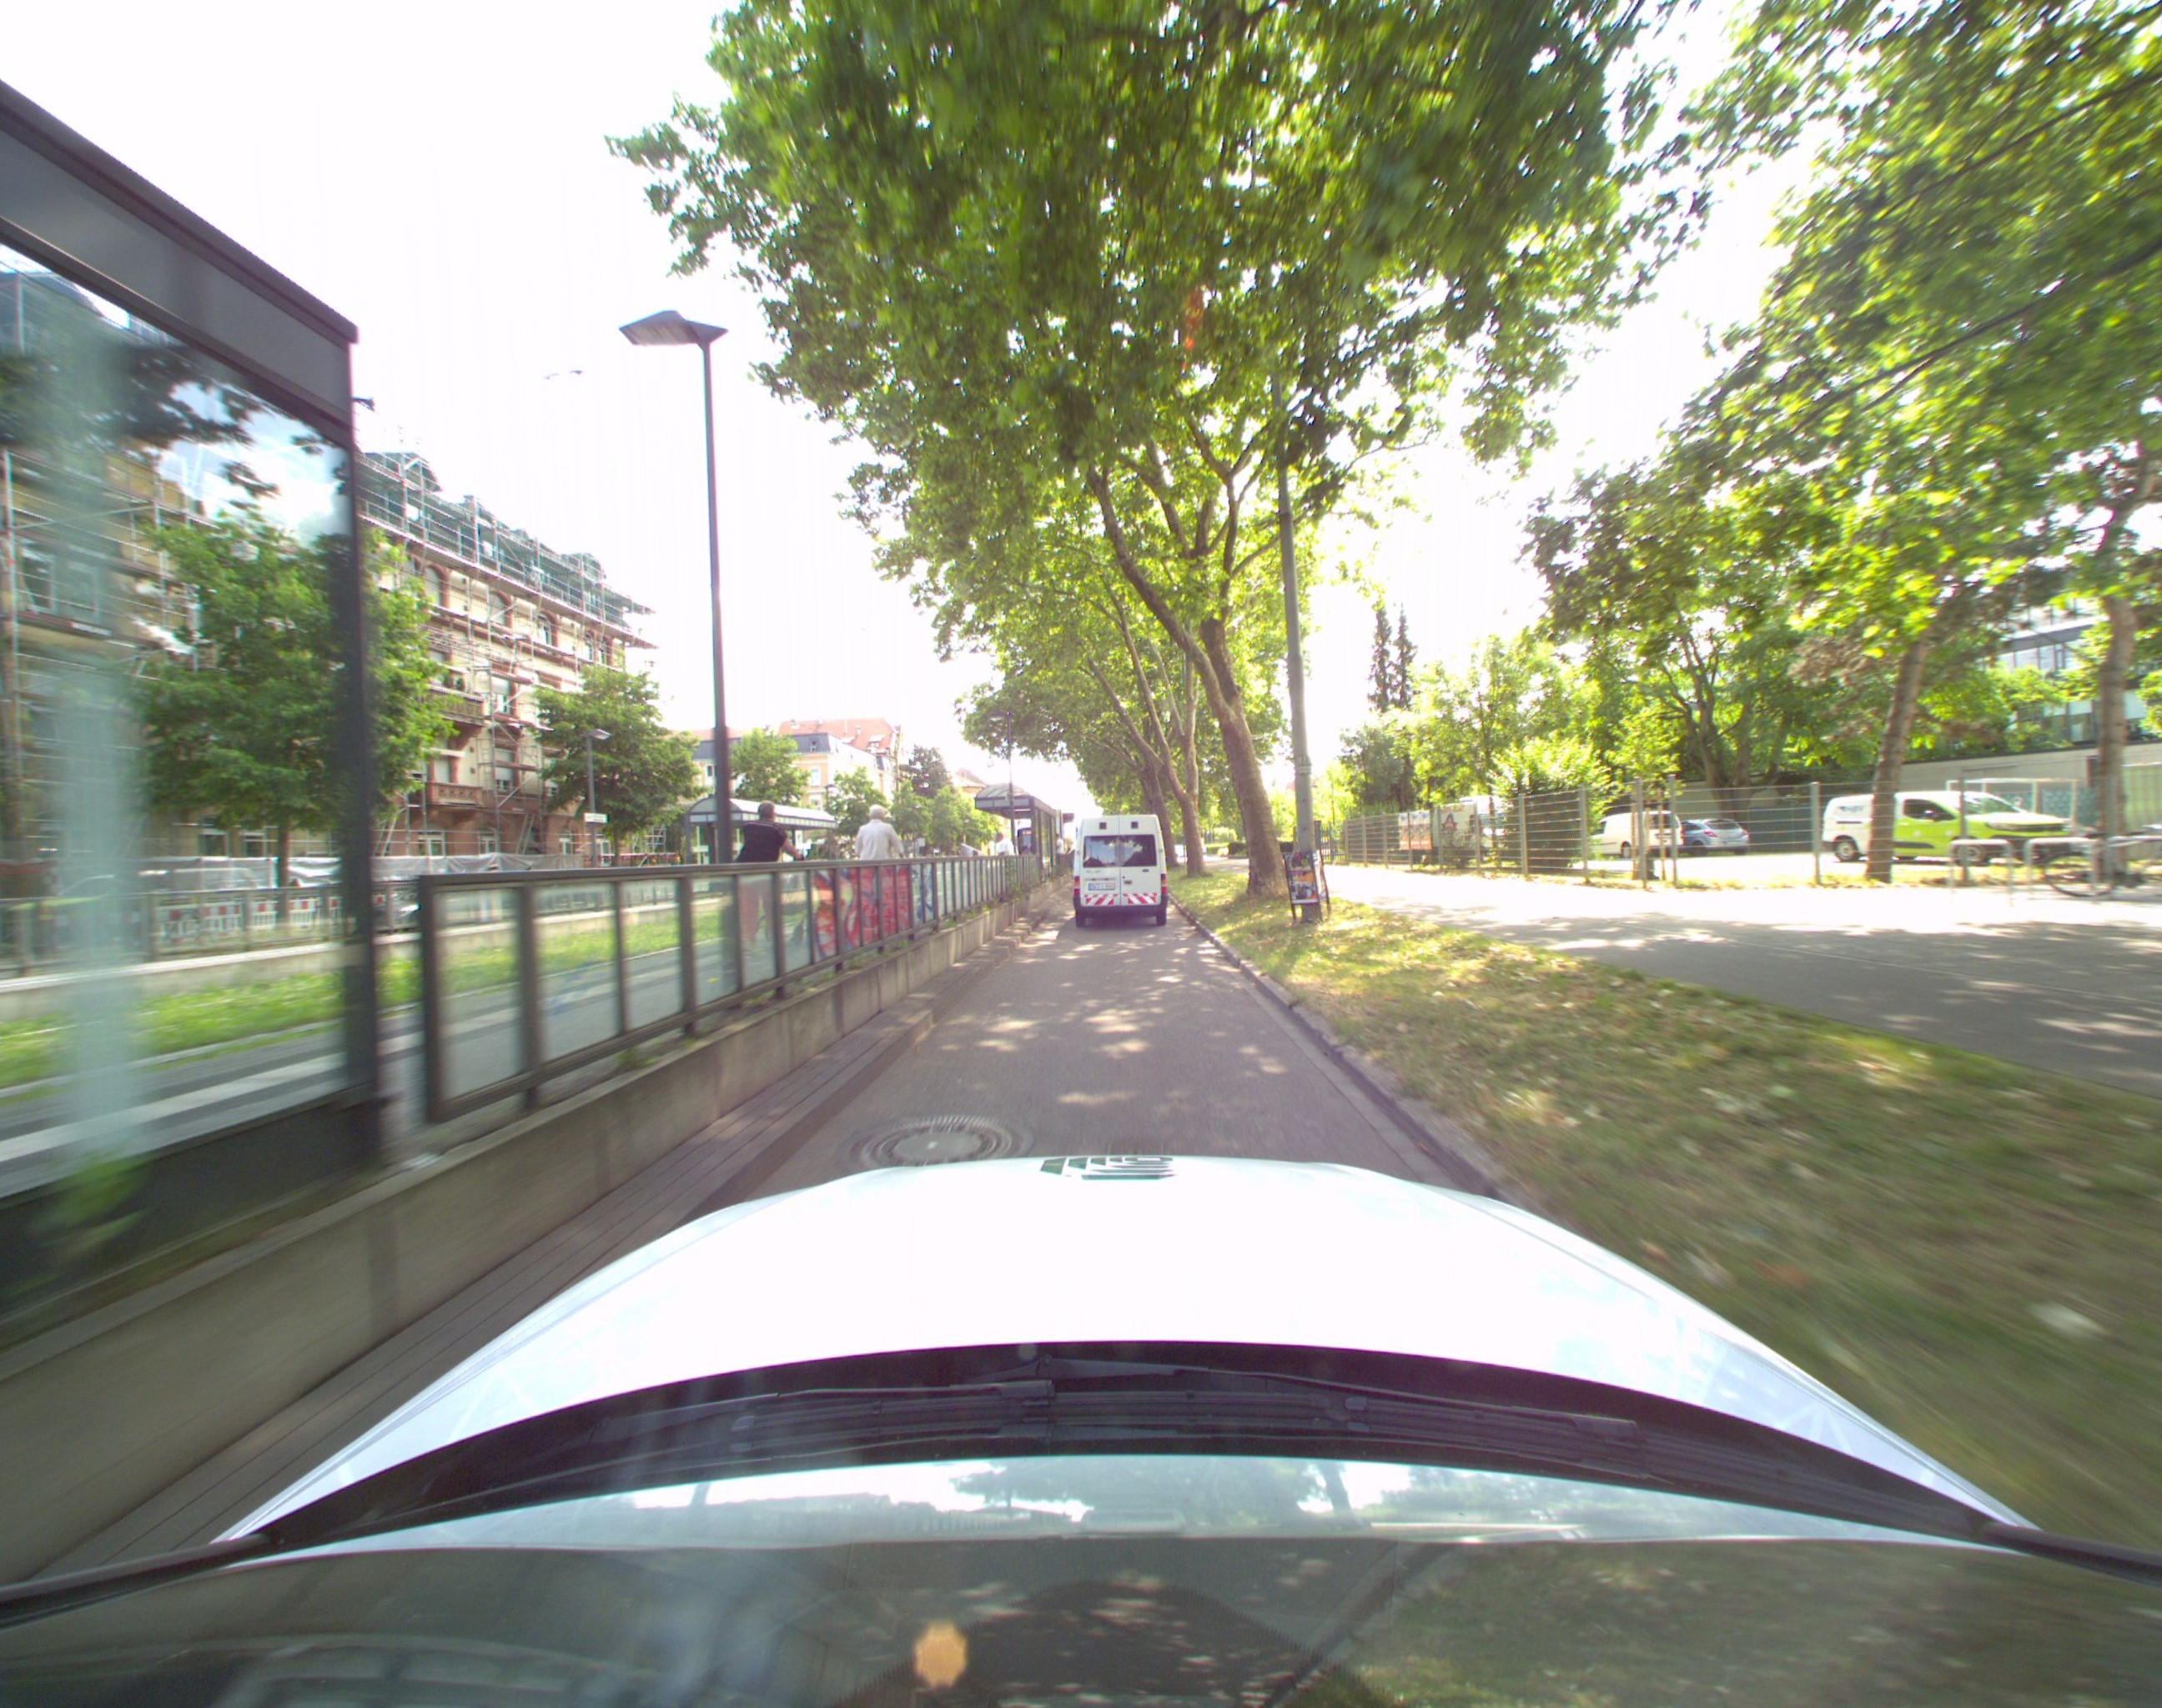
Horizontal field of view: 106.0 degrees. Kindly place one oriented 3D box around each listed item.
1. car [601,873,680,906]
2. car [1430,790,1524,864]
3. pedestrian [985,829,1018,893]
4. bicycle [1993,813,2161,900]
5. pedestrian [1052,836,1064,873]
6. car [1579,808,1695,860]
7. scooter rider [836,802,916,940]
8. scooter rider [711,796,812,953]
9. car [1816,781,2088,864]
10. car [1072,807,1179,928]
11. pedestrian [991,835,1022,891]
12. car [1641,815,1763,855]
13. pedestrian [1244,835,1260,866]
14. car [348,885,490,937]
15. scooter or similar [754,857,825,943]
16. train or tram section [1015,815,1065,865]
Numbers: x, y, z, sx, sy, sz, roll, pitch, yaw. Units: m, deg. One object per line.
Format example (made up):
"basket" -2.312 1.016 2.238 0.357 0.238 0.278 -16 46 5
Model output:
"car" -21.704 1.708 40.322 1.712 1.371 3.707 -3 0 2
"car" 16.103 -1.029 33.361 1.800 2.774 4.281 -2 0 2
"pedestrian" -1.951 0.172 19.984 0.673 1.515 0.596 -3 0 1
"bicycle" 13.598 0.025 10.893 0.605 1.073 1.835 -3 0 -6
"pedestrian" -0.991 0.022 34.972 0.384 1.591 0.439 -3 0 1
"car" 21.737 -0.748 32.065 1.799 1.815 4.344 -2 0 4
"scooter rider" -2.463 0.191 9.872 0.652 1.570 0.901 -3 0 2
"scooter rider" -3.486 0.209 8.945 0.652 1.614 0.901 -3 0 2
"car" 21.445 -0.703 20.423 1.731 1.755 4.772 -2 0 1
"car" 0.945 0.238 18.568 2.040 2.333 4.716 -3 1 1
"pedestrian" -1.910 0.224 21.006 0.673 1.403 0.596 -3 0 1
"car" 24.268 -0.706 32.030 1.800 1.402 4.050 -2 0 2
"pedestrian" 9.172 -0.199 43.625 0.691 1.625 0.637 -3 0 2
"car" -21.781 1.835 26.991 1.712 1.371 3.479 -3 0 2
"scooter or similar" -3.432 0.535 9.619 0.630 0.956 0.421 -3 0 1
"train or tram section" -3.112 -1.033 66.316 2.712 3.584 13.025 -2 0 3
